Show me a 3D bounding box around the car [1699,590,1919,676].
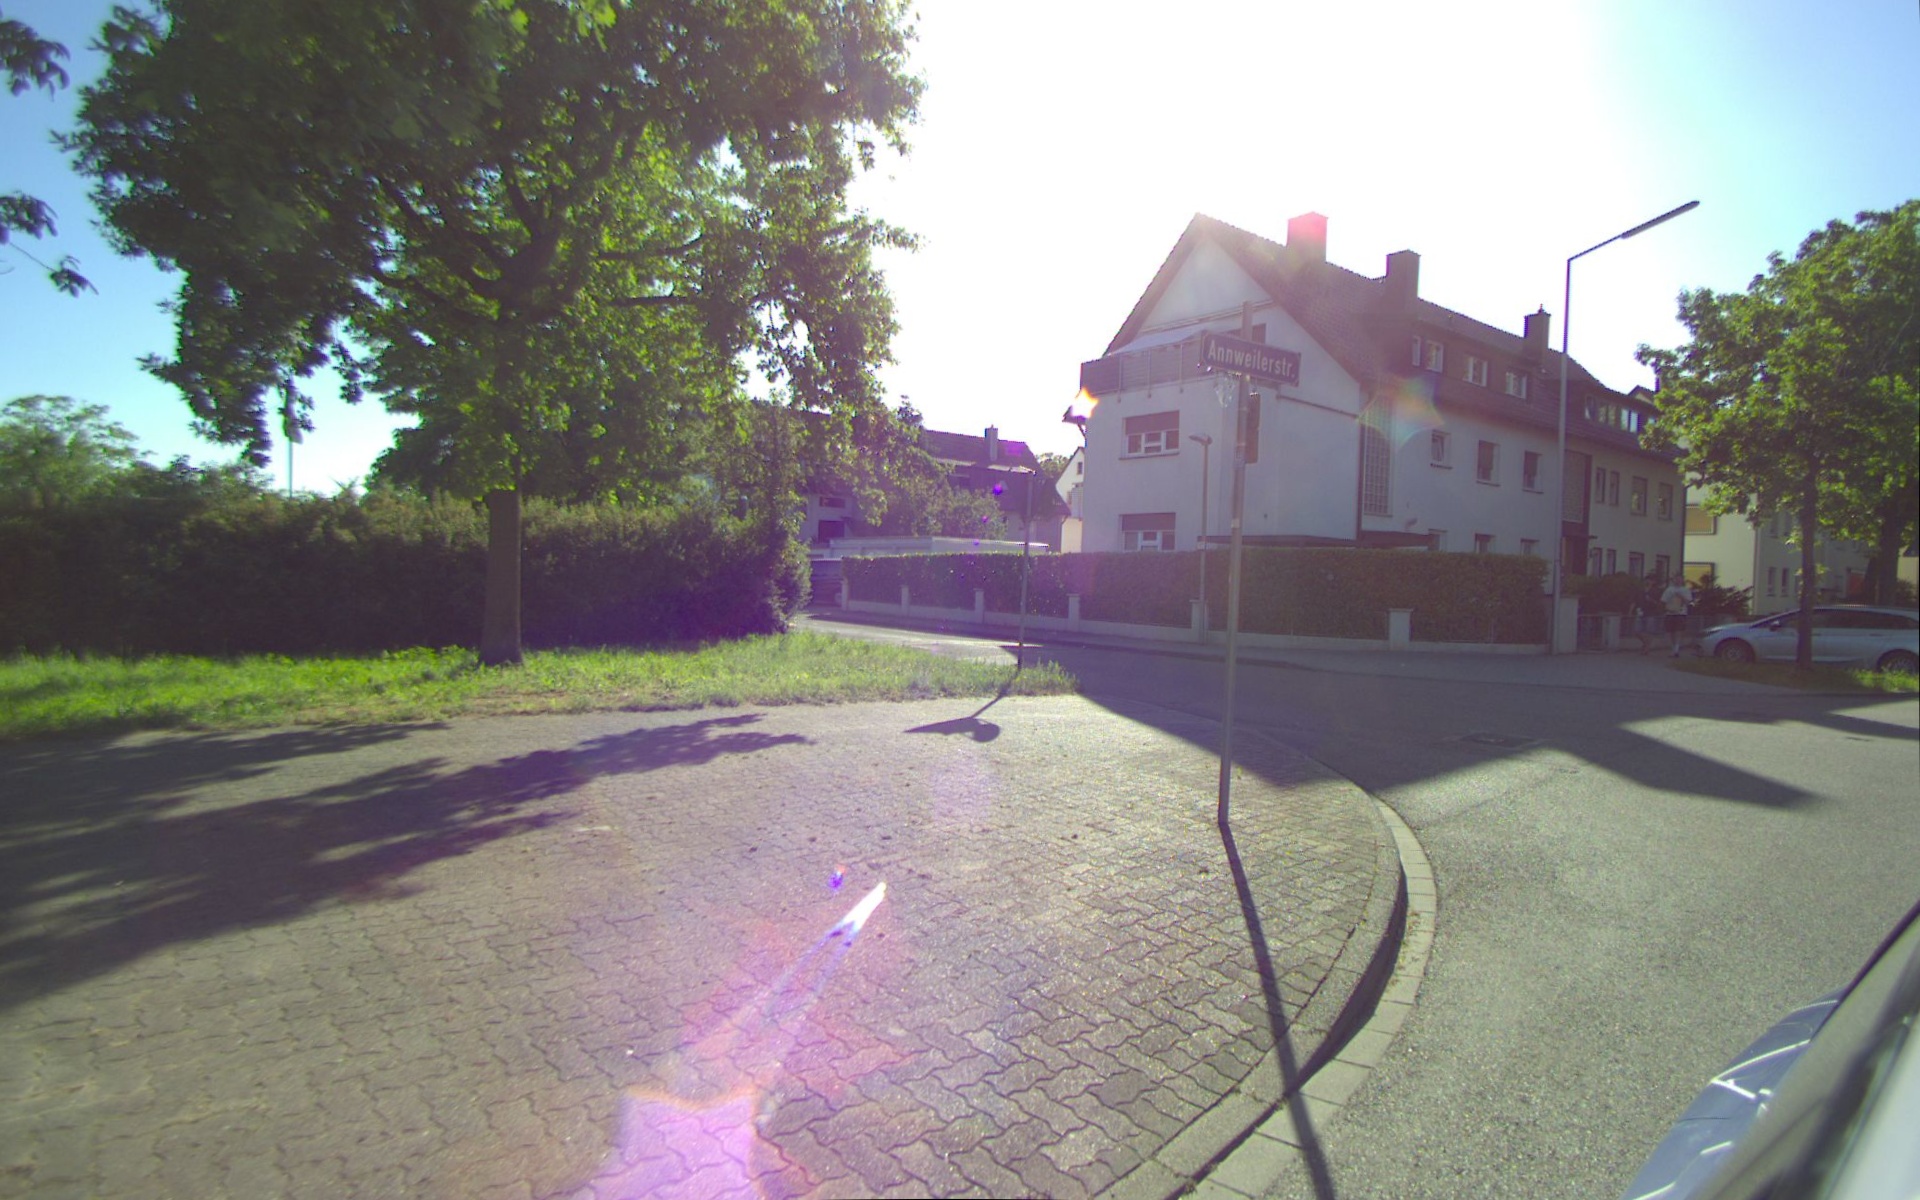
[{"bbox_3d":[18.202,0.652,20.926,1.766,1.510,4.436,1,2,-42],"label":"car"}]

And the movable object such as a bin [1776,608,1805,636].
[{"bbox_3d":[34.331,0.893,41.825,0.889,1.112,0.705,0,2,-37],"label":"movable object such as a bin"}]

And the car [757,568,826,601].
[{"bbox_3d":[-7.292,-0.678,43.475,1.612,1.305,3.787,0,2,-32],"label":"car"}]

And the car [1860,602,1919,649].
[{"bbox_3d":[31.287,0.876,31.653,1.838,1.379,4.361,1,3,-36],"label":"car"}]

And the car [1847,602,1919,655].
[{"bbox_3d":[28.674,0.914,29.223,1.763,1.431,4.291,1,2,-37],"label":"car"}]

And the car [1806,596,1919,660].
[{"bbox_3d":[24.965,0.762,26.250,1.762,1.521,4.292,1,2,-36],"label":"car"}]

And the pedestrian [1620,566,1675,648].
[{"bbox_3d":[15.986,0.147,23.537,0.697,1.850,0.837,0,2,-36],"label":"pedestrian"}]

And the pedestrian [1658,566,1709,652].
[{"bbox_3d":[16.366,0.188,22.906,0.906,1.896,0.610,0,2,-35],"label":"pedestrian"}]

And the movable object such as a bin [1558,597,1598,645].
[{"bbox_3d":[14.225,0.486,23.293,0.687,1.058,0.536,1,1,-38],"label":"movable object such as a bin"}]

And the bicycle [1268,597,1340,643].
[{"bbox_3d":[8.653,0.491,25.491,1.654,1.067,0.528,3,1,22],"label":"bicycle"}]
